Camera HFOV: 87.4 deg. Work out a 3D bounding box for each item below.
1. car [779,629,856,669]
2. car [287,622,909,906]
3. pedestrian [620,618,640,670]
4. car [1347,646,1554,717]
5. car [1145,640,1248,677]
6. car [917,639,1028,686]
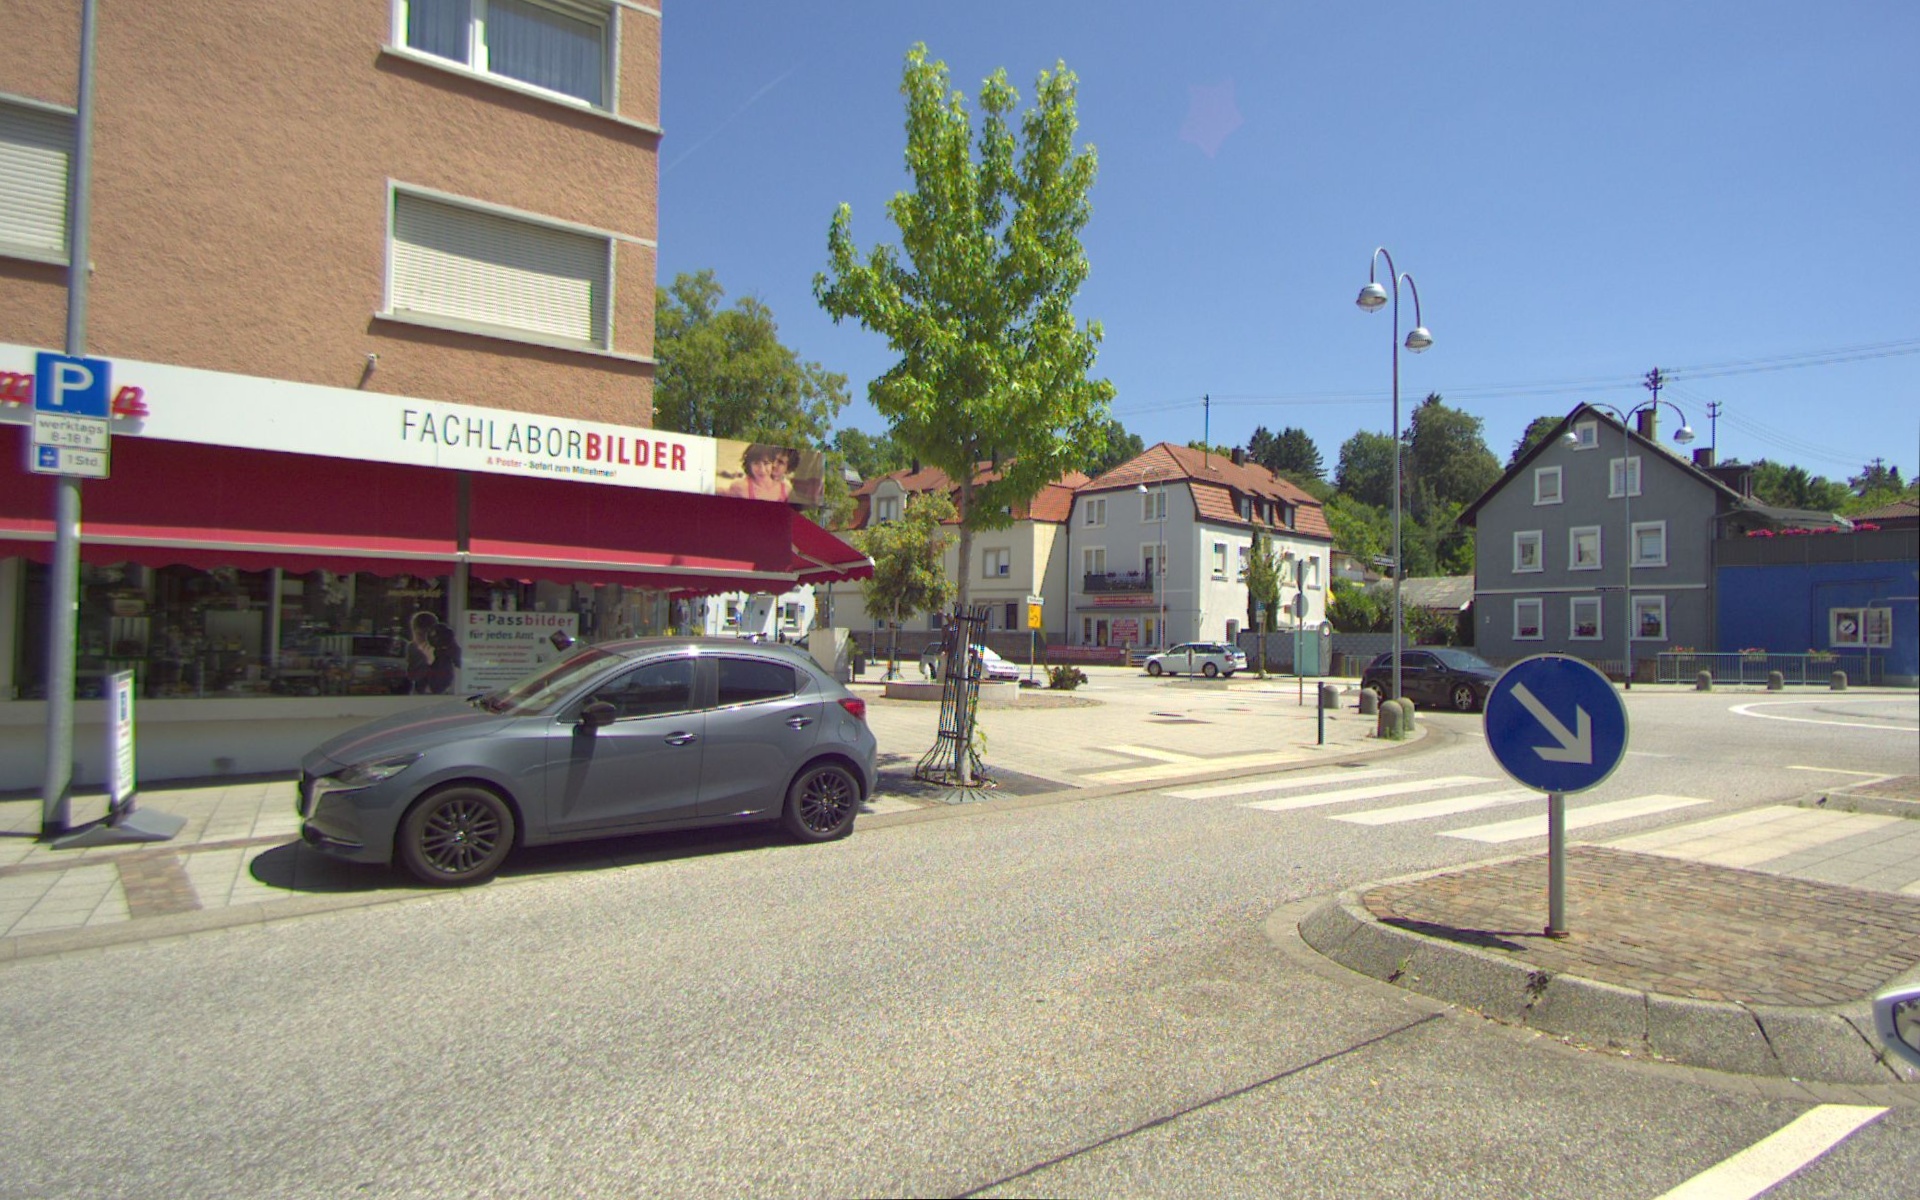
[{"bbox_3d":[-8.151,2.756,57.358,3.930,2.040,1.996,2,-1,31],"label":"car"},{"bbox_3d":[-2.516,0.977,7.437,4.023,1.506,1.655,2,0,-37],"label":"car"},{"bbox_3d":[-10.472,1.400,31.872,0.446,1.640,0.446,1,-2,-35],"label":"pedestrian"},{"bbox_3d":[11.498,1.845,23.905,1.743,1.476,4.416,1,-2,-22],"label":"car"},{"bbox_3d":[10.113,2.482,43.108,4.019,1.410,1.601,-1,0,41],"label":"car"},{"bbox_3d":[0.382,2.151,35.358,1.782,1.544,3.954,2,-2,-40],"label":"car"}]
